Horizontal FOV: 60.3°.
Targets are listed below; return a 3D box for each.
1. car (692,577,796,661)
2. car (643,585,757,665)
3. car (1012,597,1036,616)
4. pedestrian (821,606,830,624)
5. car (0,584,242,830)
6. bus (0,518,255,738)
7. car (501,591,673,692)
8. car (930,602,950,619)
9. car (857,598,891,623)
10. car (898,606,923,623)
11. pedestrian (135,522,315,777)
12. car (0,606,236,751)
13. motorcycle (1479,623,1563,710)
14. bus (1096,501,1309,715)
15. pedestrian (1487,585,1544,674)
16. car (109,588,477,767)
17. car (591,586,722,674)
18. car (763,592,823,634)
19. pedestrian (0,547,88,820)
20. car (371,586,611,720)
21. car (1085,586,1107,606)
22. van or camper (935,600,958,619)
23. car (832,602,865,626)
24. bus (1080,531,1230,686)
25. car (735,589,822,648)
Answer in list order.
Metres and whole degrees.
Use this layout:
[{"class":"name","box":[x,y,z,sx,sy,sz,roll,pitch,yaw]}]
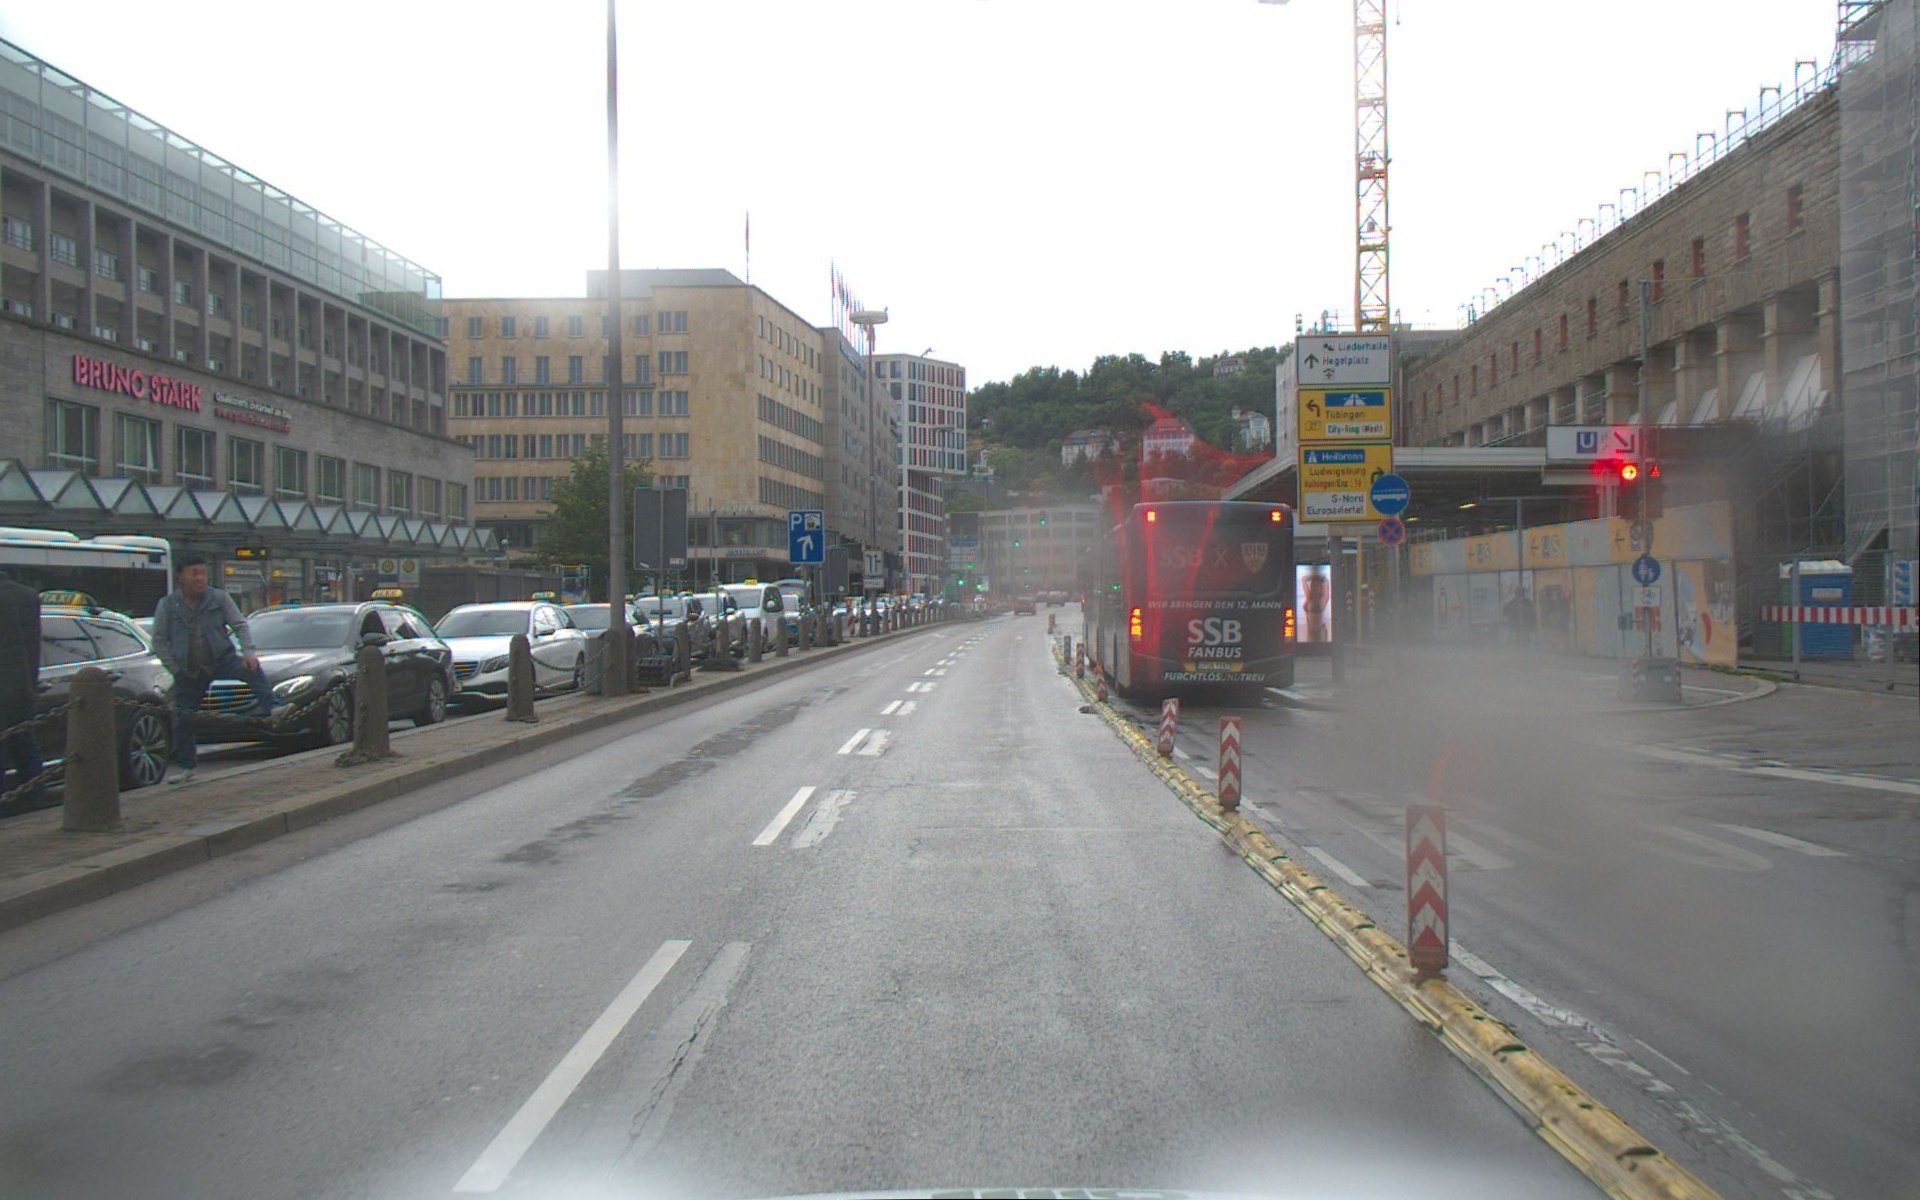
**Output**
[{"class":"car","box":[-6.048,0.519,47.009,1.952,2.217,5.546,-1,0,3]},{"class":"car","box":[-6.448,0.605,41.544,1.889,1.838,4.583,-2,-1,2]},{"class":"car","box":[5.509,0.565,142.199,1.952,1.579,4.001,-1,0,3]},{"class":"pedestrian","box":[-12.196,1.361,149.941,0.706,1.585,0.895,-1,-1,6]},{"class":"car","box":[-7.202,0.736,11.640,1.890,1.604,5.261,-2,-1,1]},{"class":"bus","box":[-16.674,0.464,30.111,2.817,3.520,10.577,0,0,2]},{"class":"car","box":[-6.658,0.713,30.096,1.890,1.604,5.052,-2,-1,1]},{"class":"car","box":[-2.336,1.235,193.608,1.951,2.049,4.002,0,0,5]},{"class":"car","box":[-6.039,0.743,116.394,1.921,1.591,4.837,-3,0,2]},{"class":"car","box":[-5.035,1.484,167.992,1.951,1.645,4.981,-1,0,5]},{"class":"pedestrian","box":[-5.338,0.350,12.051,1.029,1.799,0.616,-1,-1,1]},{"class":"car","box":[-11.785,0.987,22.281,1.890,1.720,4.682,-2,-1,1]},{"class":"motorcycle","box":[7.921,0.918,23.321,0.576,1.186,1.608,0,-1,40]},{"class":"bus","box":[3.954,0.155,28.970,2.698,3.122,9.082,1,0,2]},{"class":"pedestrian","box":[10.492,0.551,31.243,0.889,1.664,0.827,-1,-1,29]},{"class":"car","box":[-6.995,0.748,18.037,1.890,1.604,5.012,-2,-1,1]},{"class":"car","box":[-6.598,0.637,36.473,1.890,1.728,4.885,-2,-1,1]},{"class":"car","box":[-6.521,0.520,64.984,1.953,1.579,3.999,-1,0,-1]},{"class":"pedestrian","box":[-6.073,0.491,10.315,0.708,1.635,0.996,1,0,1]},{"class":"car","box":[-6.708,0.720,24.305,1.936,1.688,5.193,-2,-1,1]},{"class":"car","box":[12.723,-0.362,155.285,1.952,1.736,4.002,-1,0,3]},{"class":"van or camper","box":[-1.462,1.030,177.986,1.951,2.049,5.192,-1,-1,5]},{"class":"car","box":[-8.344,1.036,124.073,1.921,1.591,4.837,-3,0,2]},{"class":"bus","box":[4.278,0.206,38.024,2.698,3.120,8.995,1,0,2]},{"class":"car","box":[-5.699,0.554,52.400,1.952,1.752,4.784,-1,0,3]}]
